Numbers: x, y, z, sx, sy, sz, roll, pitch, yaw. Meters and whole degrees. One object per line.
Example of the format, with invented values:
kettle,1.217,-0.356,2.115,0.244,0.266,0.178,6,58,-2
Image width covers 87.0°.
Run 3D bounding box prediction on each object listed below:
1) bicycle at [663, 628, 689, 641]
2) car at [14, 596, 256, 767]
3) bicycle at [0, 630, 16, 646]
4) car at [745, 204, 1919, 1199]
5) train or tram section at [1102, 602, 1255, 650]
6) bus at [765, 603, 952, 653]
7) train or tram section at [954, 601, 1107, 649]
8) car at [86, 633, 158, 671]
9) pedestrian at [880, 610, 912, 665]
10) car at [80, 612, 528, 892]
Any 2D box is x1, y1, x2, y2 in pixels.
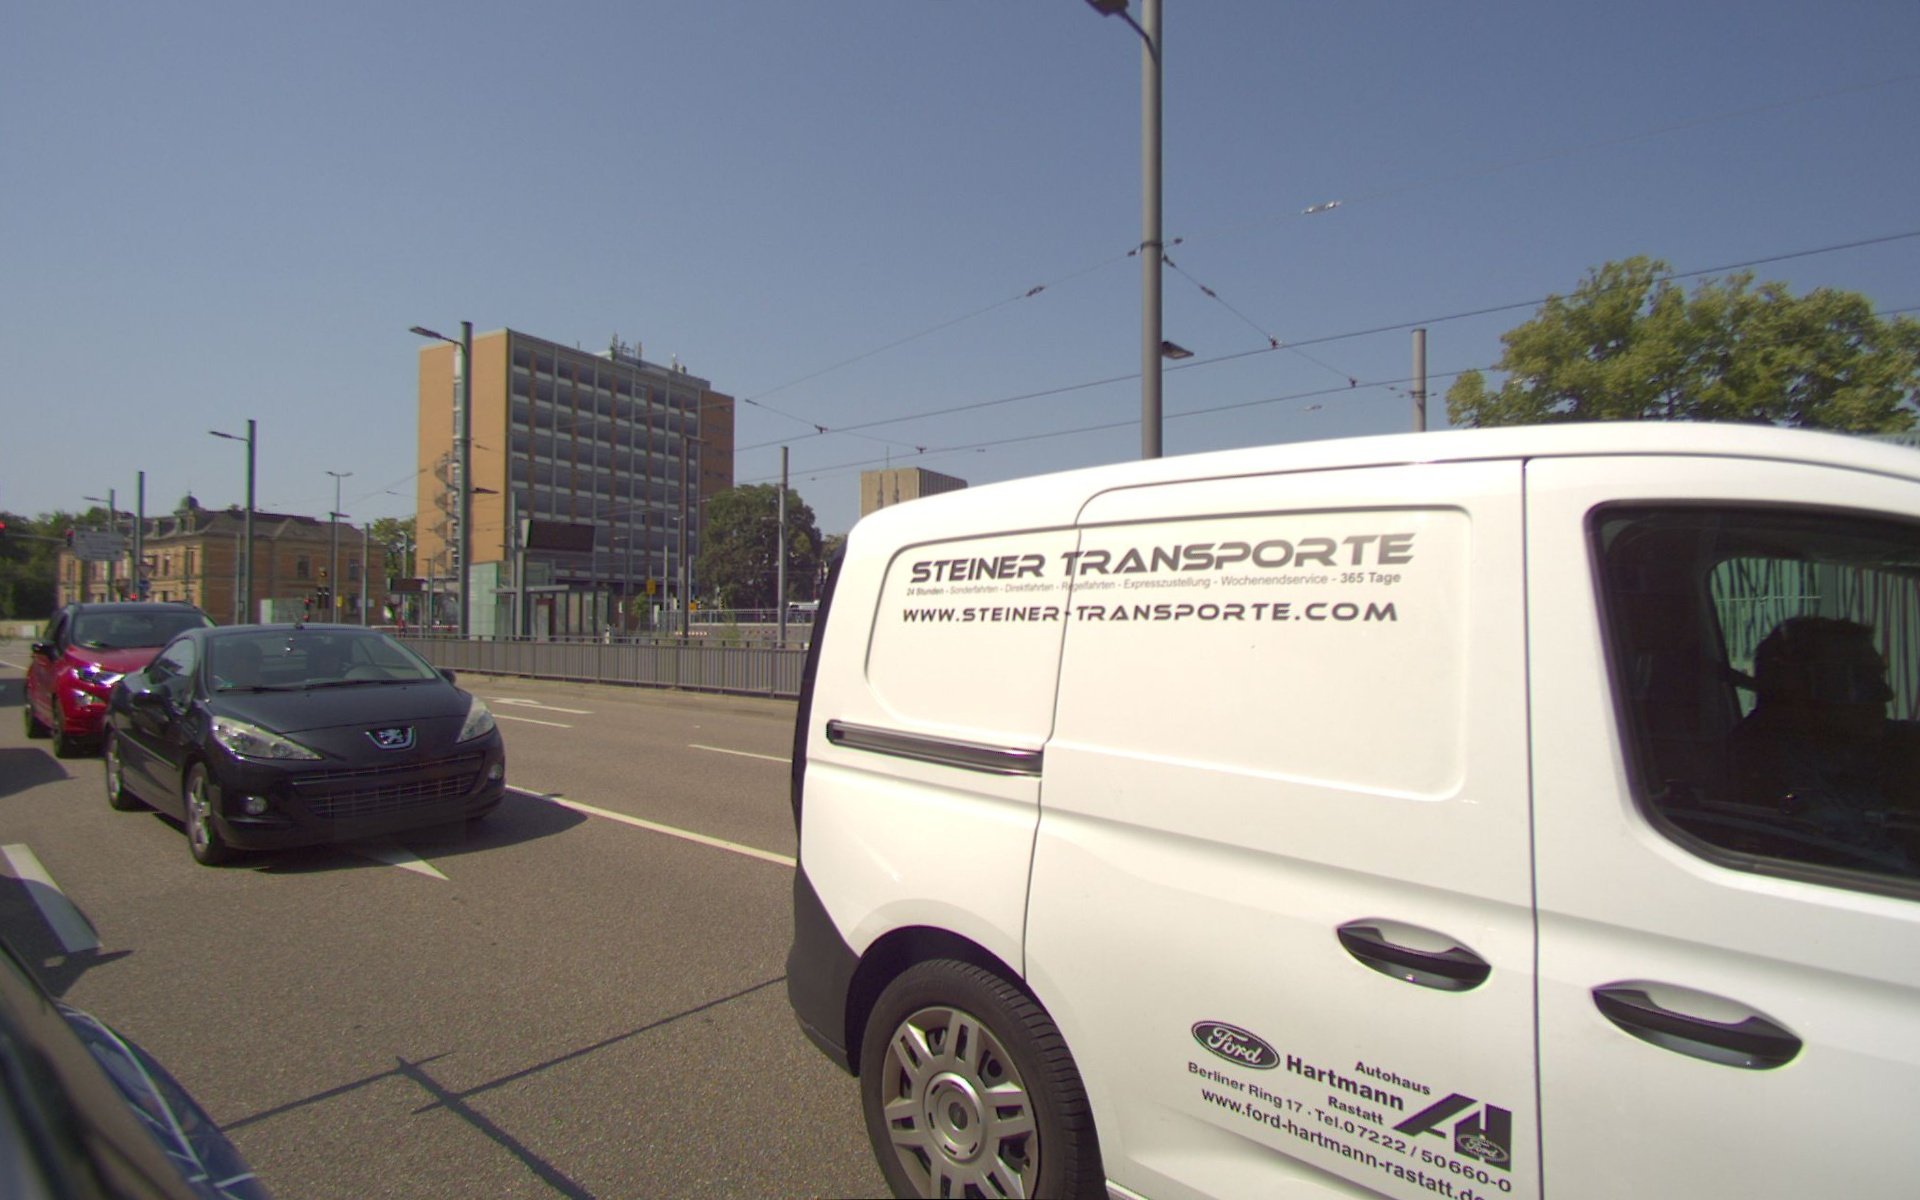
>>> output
bicycle,-25.892,3.138,92.193,2.149,1.109,0.666,-1,0,-28
car,-9.576,0.813,11.633,3.967,1.633,1.612,-1,-1,43
bicycle,-64.330,2.530,67.079,2.481,1.024,0.786,1,-2,-14
car,1.600,0.469,1.859,4.237,1.834,1.729,-1,-1,41
train or tram section,17.812,2.133,82.725,12.180,3.794,2.002,0,-2,-4
bus,-7.316,1.995,73.622,13.205,3.319,3.354,-1,0,-4
train or tram section,5.649,2.073,81.823,12.180,3.794,2.002,0,-2,-4
car,-34.617,2.131,41.775,4.573,1.446,1.727,-3,-2,43
pedestrian,-2.143,1.239,33.822,0.761,1.801,0.735,-2,-3,42
car,-4.746,0.826,7.112,3.799,1.424,1.671,-1,-1,41
